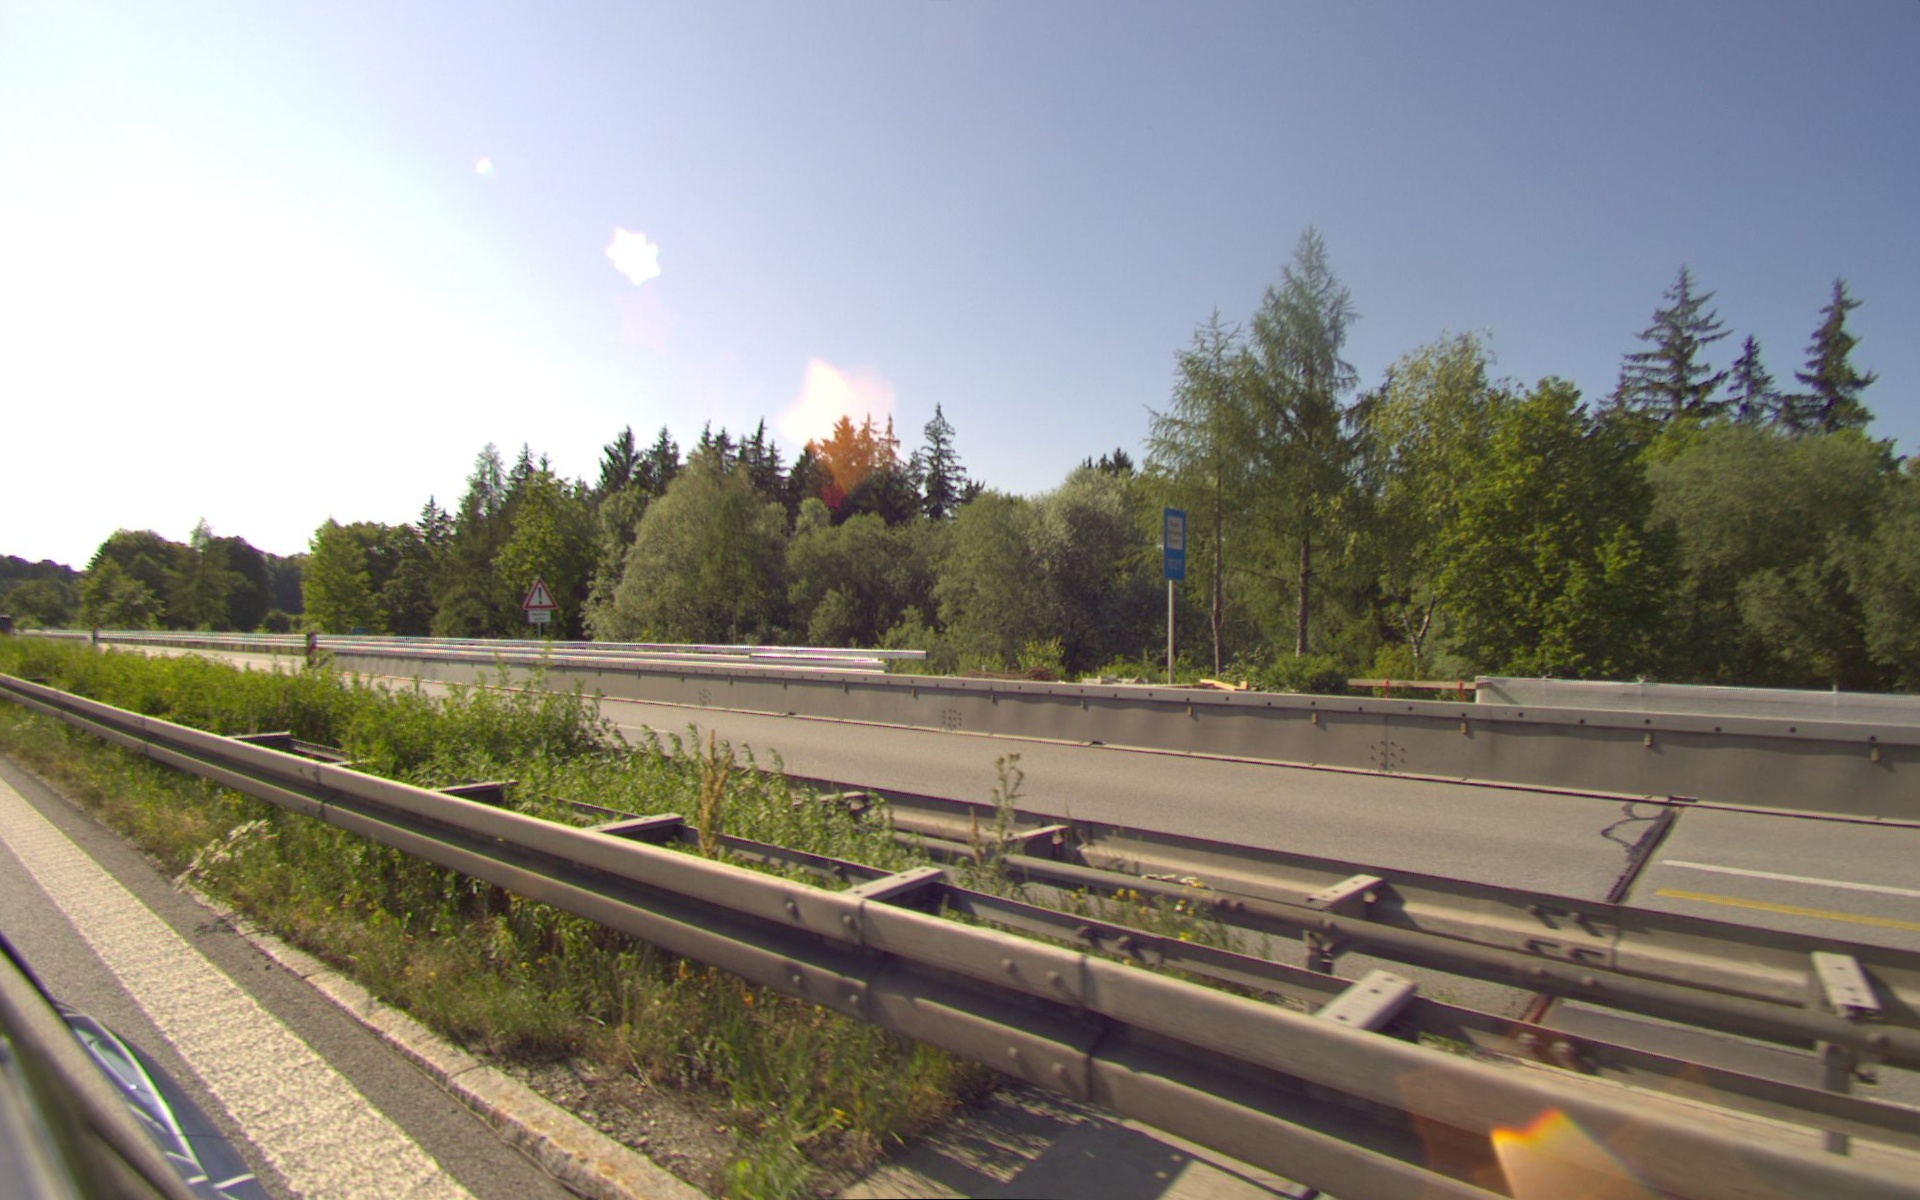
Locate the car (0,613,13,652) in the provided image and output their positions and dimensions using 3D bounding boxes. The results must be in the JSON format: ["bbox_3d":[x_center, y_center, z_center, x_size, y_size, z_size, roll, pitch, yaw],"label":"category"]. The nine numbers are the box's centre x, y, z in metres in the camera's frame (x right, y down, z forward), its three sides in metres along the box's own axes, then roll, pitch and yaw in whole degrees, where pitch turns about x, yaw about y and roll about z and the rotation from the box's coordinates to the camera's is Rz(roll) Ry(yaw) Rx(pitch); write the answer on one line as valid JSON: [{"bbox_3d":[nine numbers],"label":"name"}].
[{"bbox_3d":[-51.808,1.728,53.705,5.576,1.988,1.854,-1,0,43],"label":"car"}]
